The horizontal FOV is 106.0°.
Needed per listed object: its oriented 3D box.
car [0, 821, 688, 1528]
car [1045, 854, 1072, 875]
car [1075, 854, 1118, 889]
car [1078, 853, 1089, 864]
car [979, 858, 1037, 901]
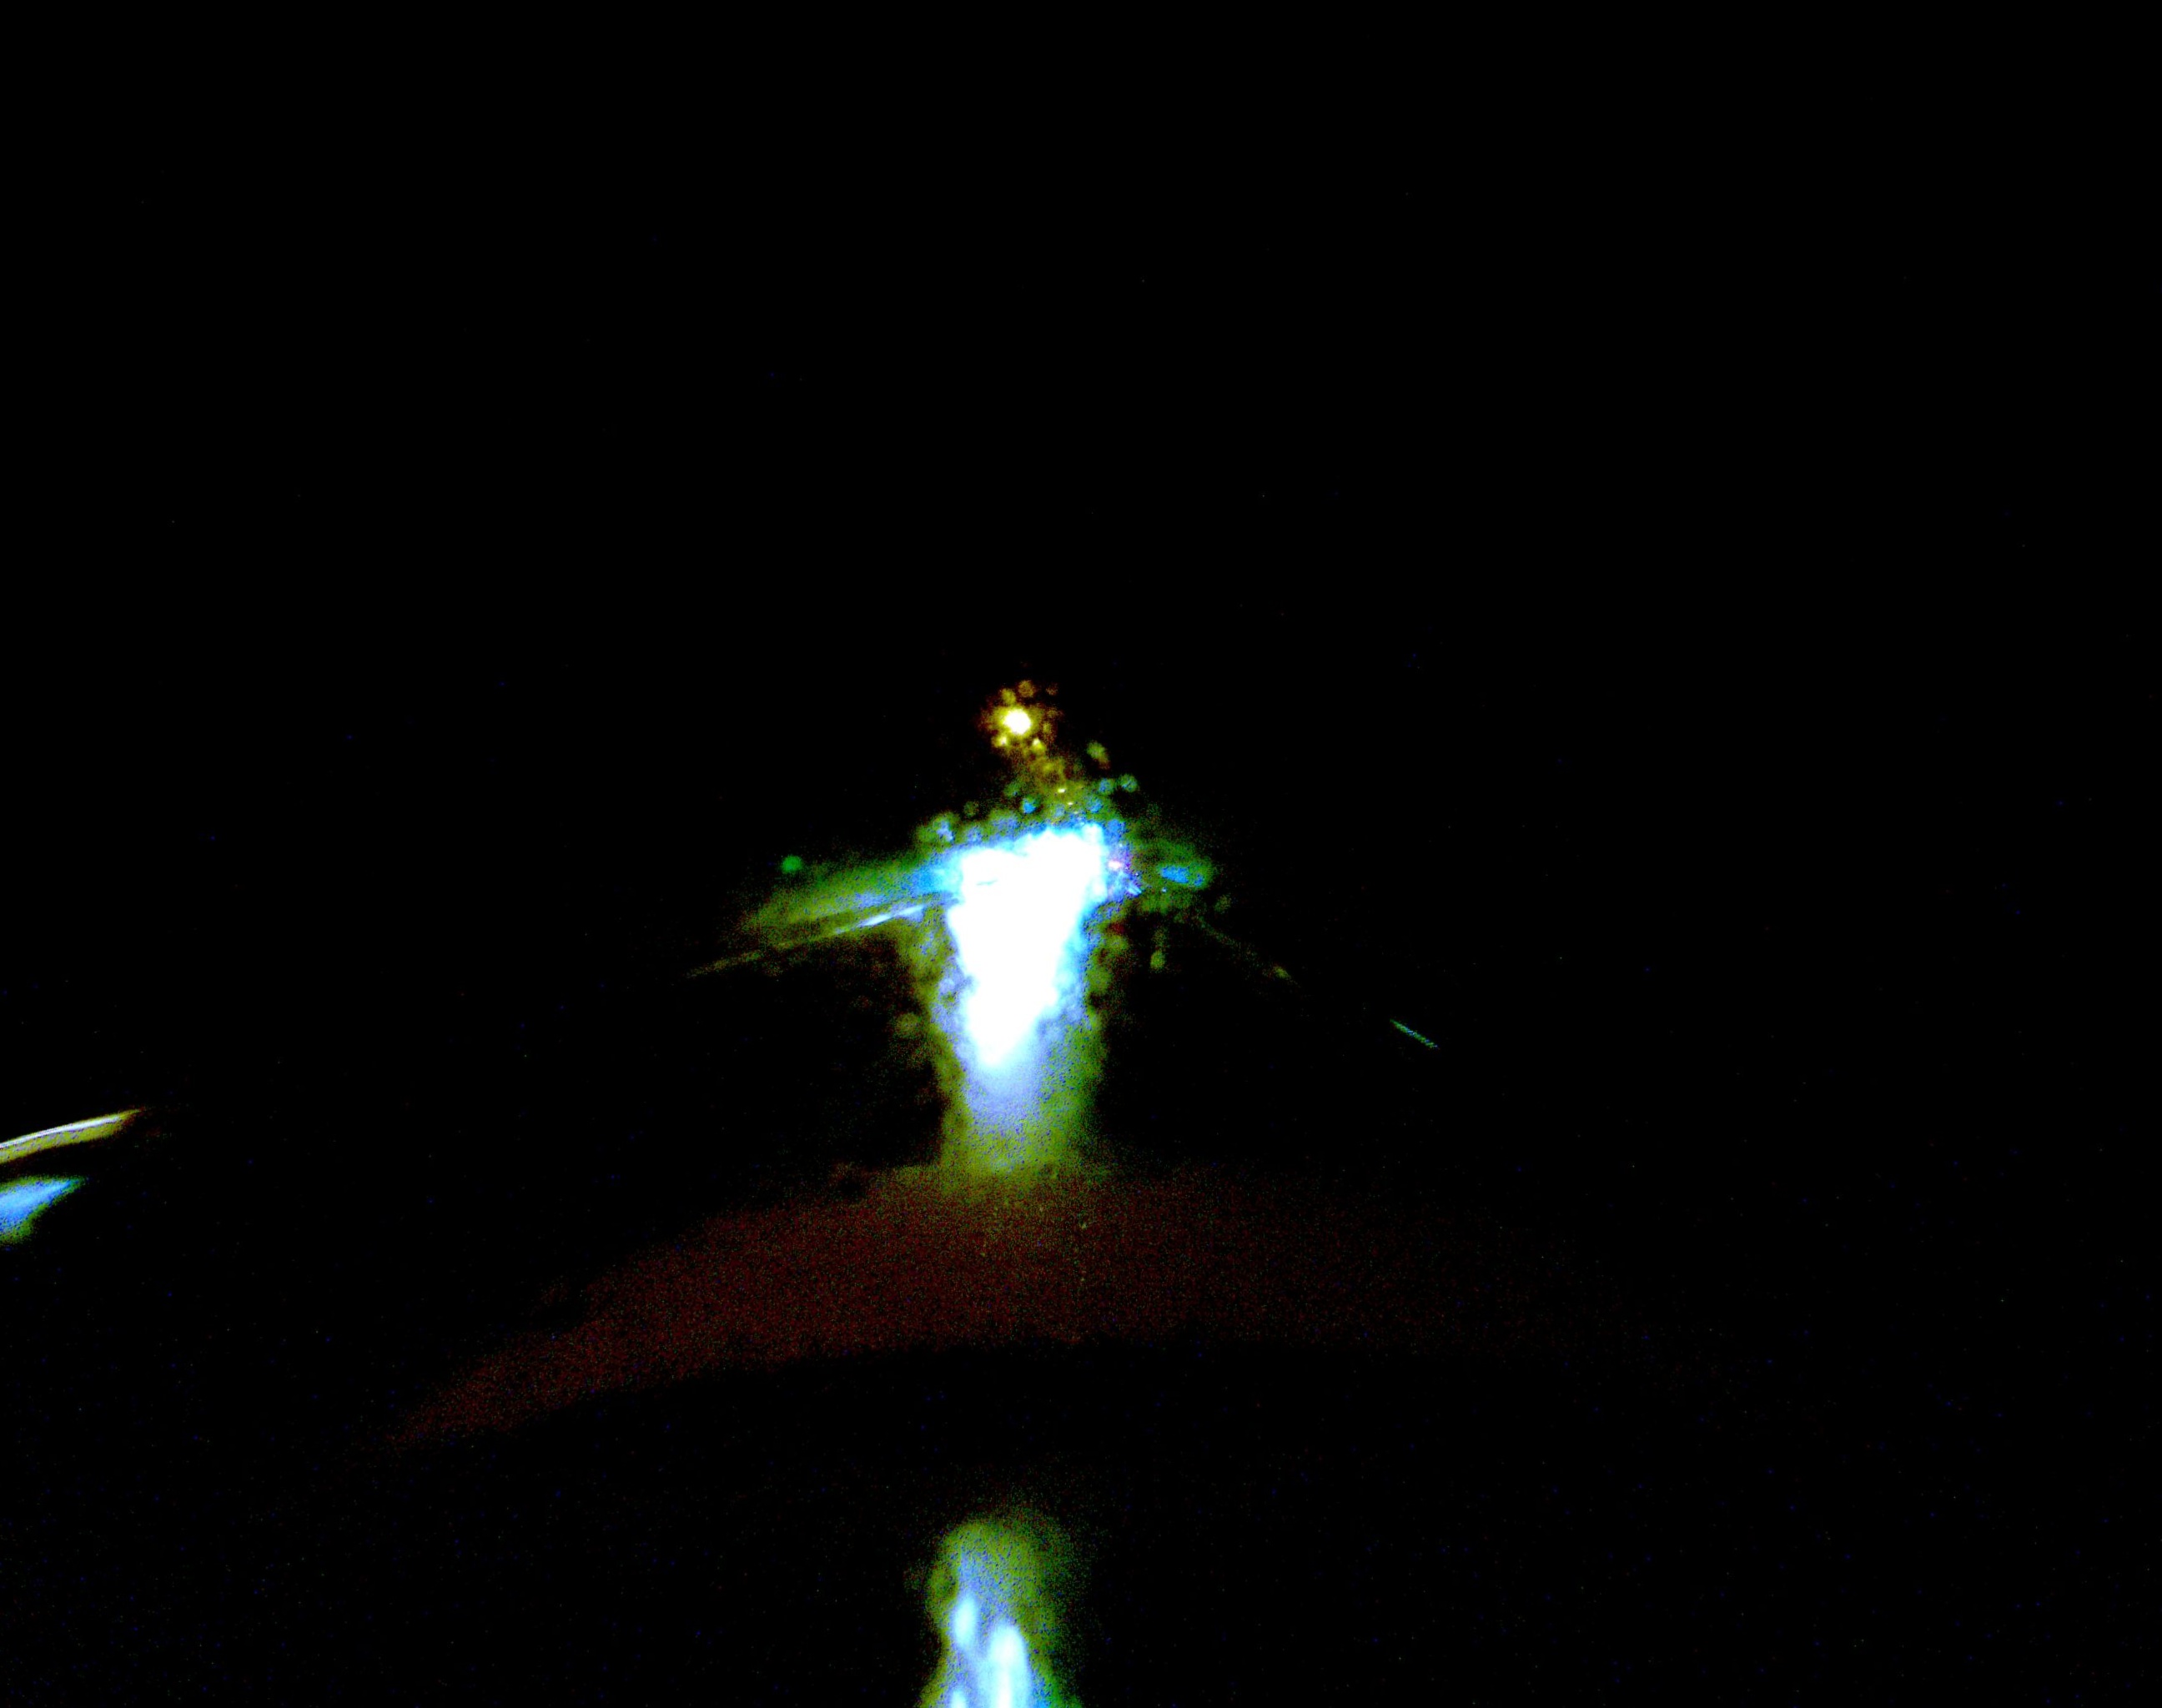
[{"bbox_3d":[-3.203,0.716,2.813,1.694,1.555,3.874,-1,0,2],"label":"car"},{"bbox_3d":[-1.802,0.831,66.526,1.986,1.709,4.281,0,0,1],"label":"car"},{"bbox_3d":[0.798,0.876,41.588,2.082,1.662,4.001,-1,0,1],"label":"car"},{"bbox_3d":[0.469,0.902,155.288,1.986,2.013,4.001,-1,0,1],"label":"car"},{"bbox_3d":[-2.610,0.884,29.769,1.684,1.422,3.626,-1,0,2],"label":"car"}]
